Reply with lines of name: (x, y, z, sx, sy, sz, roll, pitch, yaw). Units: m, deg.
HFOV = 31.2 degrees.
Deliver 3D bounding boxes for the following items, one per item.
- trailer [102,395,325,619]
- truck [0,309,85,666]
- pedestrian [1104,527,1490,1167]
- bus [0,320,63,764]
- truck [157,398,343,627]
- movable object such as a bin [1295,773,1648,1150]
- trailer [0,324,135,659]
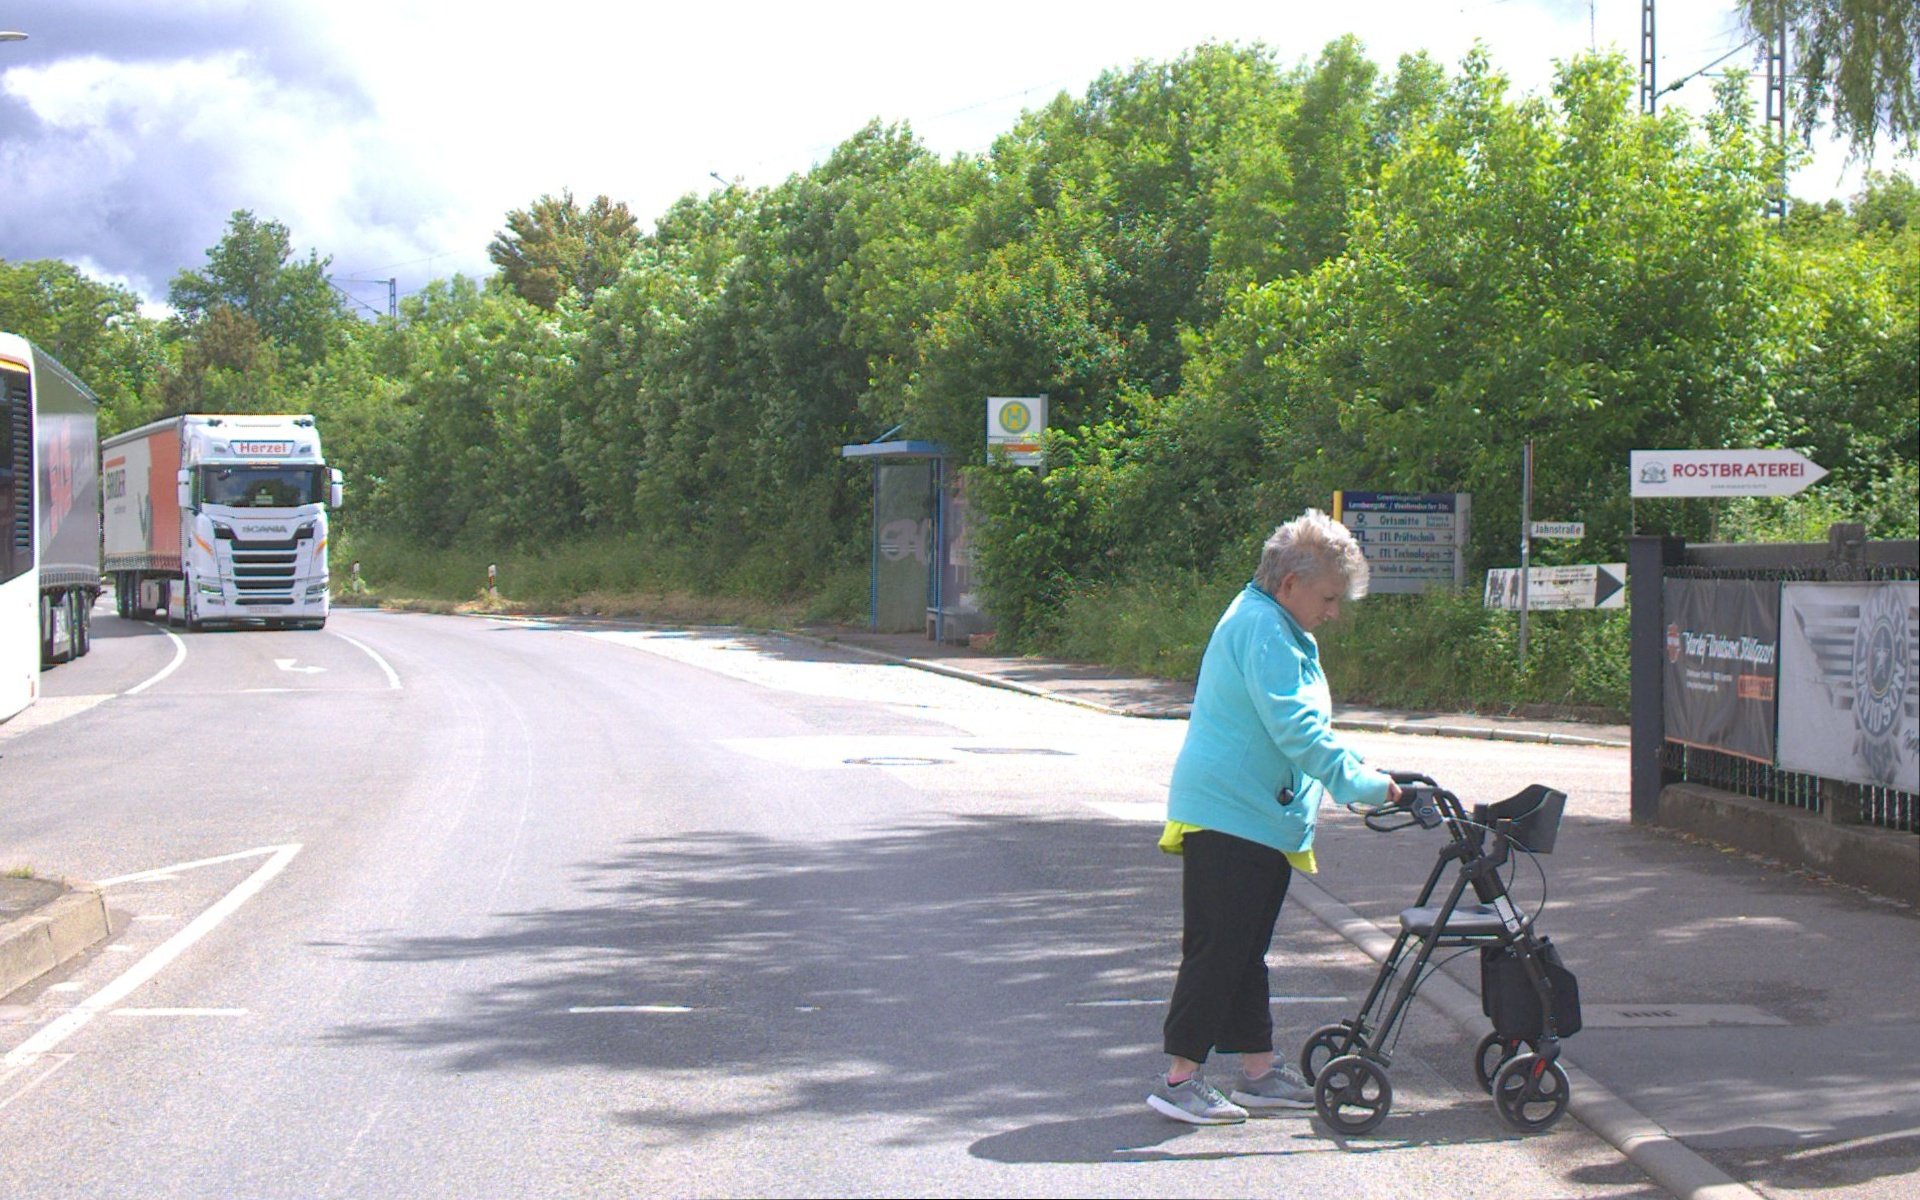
trailer: (-15.758, -1.832, 71.546, 2.770, 4.130, 15.355, 1, 1, -19)
truck: (-12.392, -1.329, 42.006, 2.798, 4.039, 6.503, 1, 1, -10)
pedestrian: (0.829, 0.594, 8.658, 0.838, 1.538, 0.734, 1, 0, -4)
bus: (-7.837, -0.342, 18.911, 2.718, 3.020, 12.266, 0, 1, -1)
truck: (-13.406, -1.604, 64.675, 2.770, 4.105, 4.988, 1, 1, -19)
movable object such as a bin: (1.276, 0.895, 8.678, 0.746, 0.868, 0.671, 1, 0, -4)
trailer: (-13.665, -1.418, 48.993, 2.798, 4.039, 15.560, 1, 1, -10)
